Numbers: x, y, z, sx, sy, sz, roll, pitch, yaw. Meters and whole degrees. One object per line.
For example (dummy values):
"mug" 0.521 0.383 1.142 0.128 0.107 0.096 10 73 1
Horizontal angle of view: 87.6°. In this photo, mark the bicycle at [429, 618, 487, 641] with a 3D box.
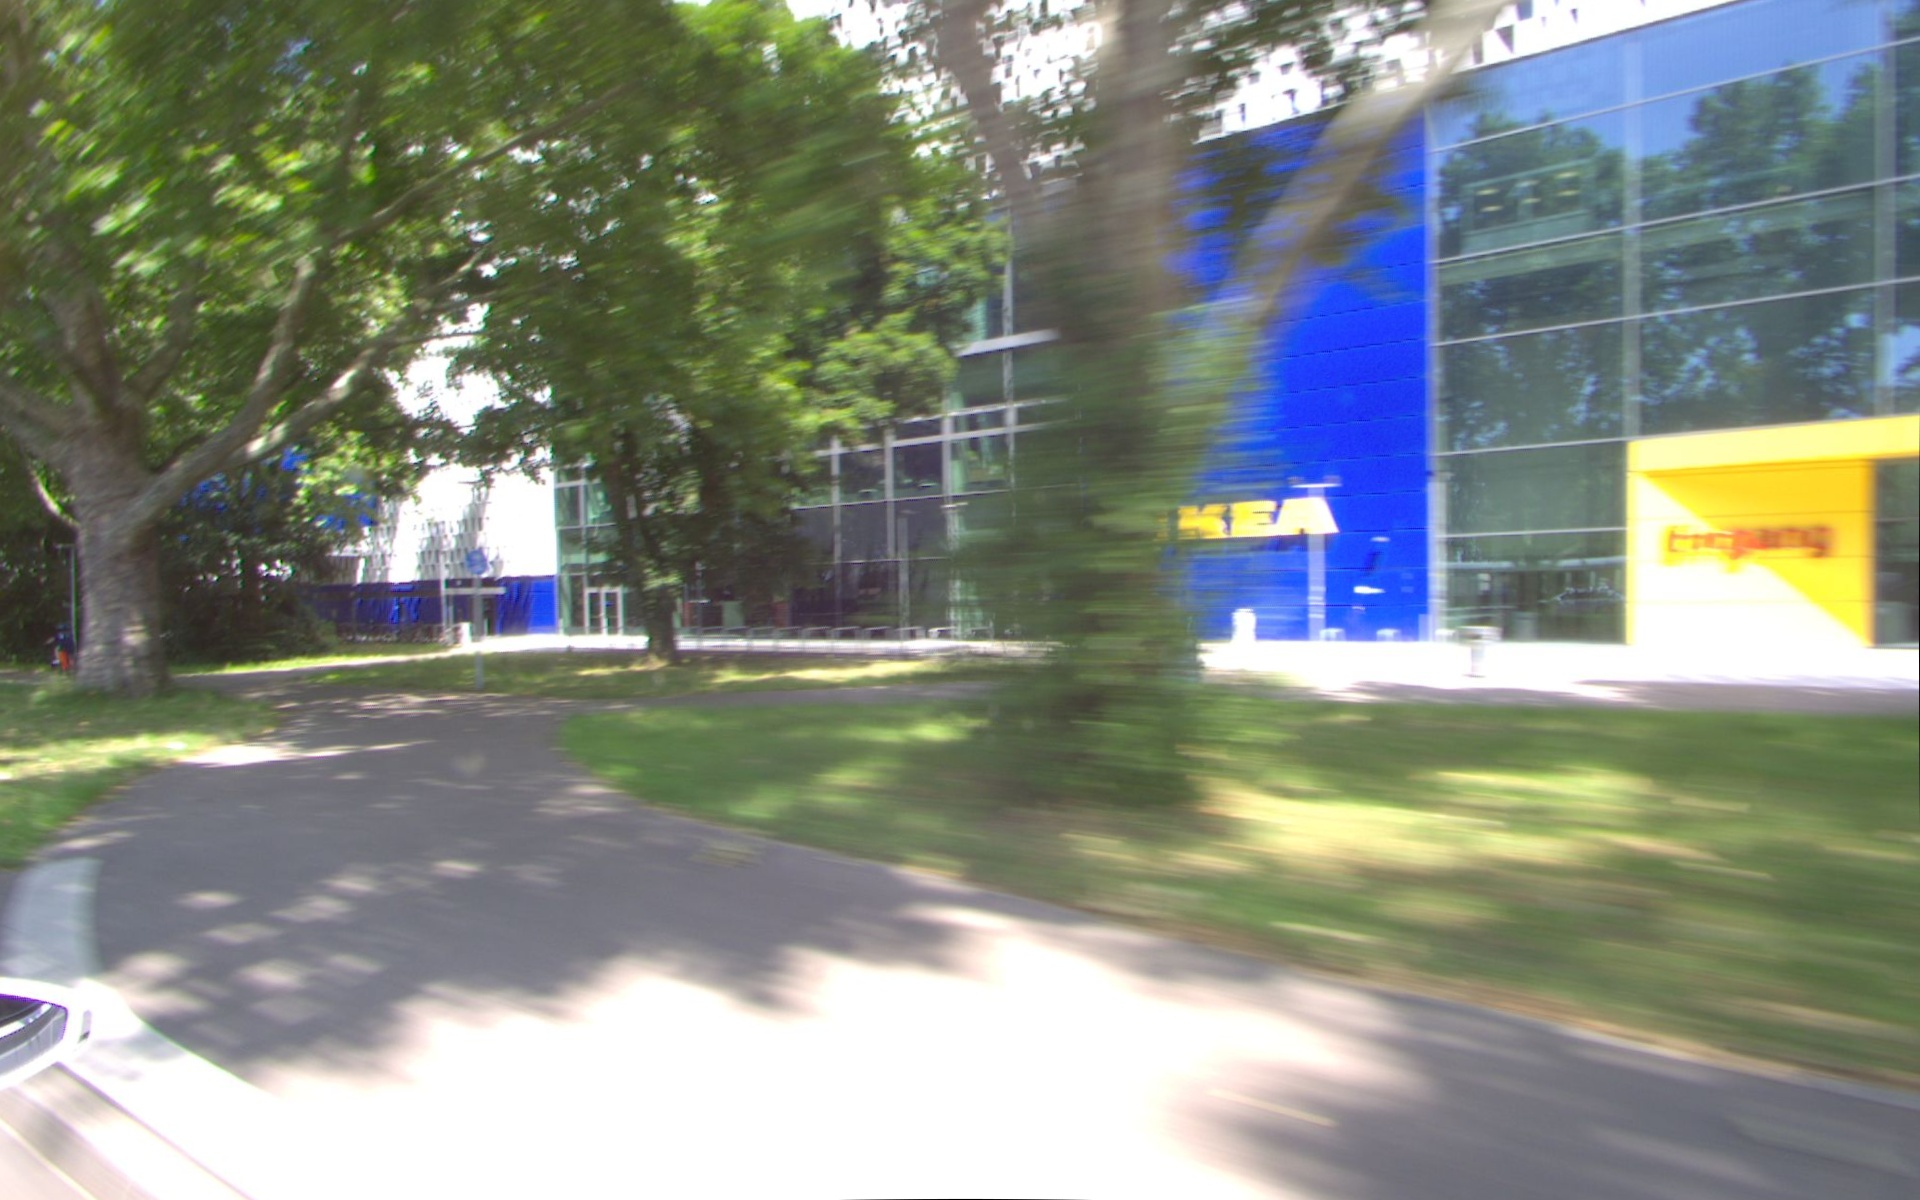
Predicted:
"bicycle" -22.742 1.332 45.423 0.747 0.973 2.313 -1 0 28

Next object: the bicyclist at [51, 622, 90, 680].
"bicyclist" -25.830 1.468 29.082 0.804 1.631 0.622 -1 0 30

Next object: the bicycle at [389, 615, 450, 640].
"bicycle" -25.533 1.311 47.389 0.747 1.125 2.543 -1 0 28

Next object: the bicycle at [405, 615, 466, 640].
"bicycle" -24.475 1.272 46.797 0.747 1.125 2.543 -1 0 28

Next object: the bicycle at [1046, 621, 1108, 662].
"bicycle" 3.038 1.057 25.845 0.855 0.981 2.057 -1 -1 29

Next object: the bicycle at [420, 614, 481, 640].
"bicycle" -23.540 1.240 46.308 0.747 1.125 2.543 -1 0 28

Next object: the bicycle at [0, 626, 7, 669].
"bicycle" -33.244 1.612 34.030 2.624 1.438 0.609 -1 0 33

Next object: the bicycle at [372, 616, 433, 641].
"bicycle" -26.675 1.348 47.929 0.747 1.125 2.543 -1 0 28

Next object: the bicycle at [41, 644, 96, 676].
"bicycle" -25.937 1.739 29.137 1.994 0.898 0.644 -1 0 32

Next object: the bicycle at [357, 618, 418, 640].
"bicycle" -27.751 1.389 48.570 0.747 0.983 2.543 -1 0 28
